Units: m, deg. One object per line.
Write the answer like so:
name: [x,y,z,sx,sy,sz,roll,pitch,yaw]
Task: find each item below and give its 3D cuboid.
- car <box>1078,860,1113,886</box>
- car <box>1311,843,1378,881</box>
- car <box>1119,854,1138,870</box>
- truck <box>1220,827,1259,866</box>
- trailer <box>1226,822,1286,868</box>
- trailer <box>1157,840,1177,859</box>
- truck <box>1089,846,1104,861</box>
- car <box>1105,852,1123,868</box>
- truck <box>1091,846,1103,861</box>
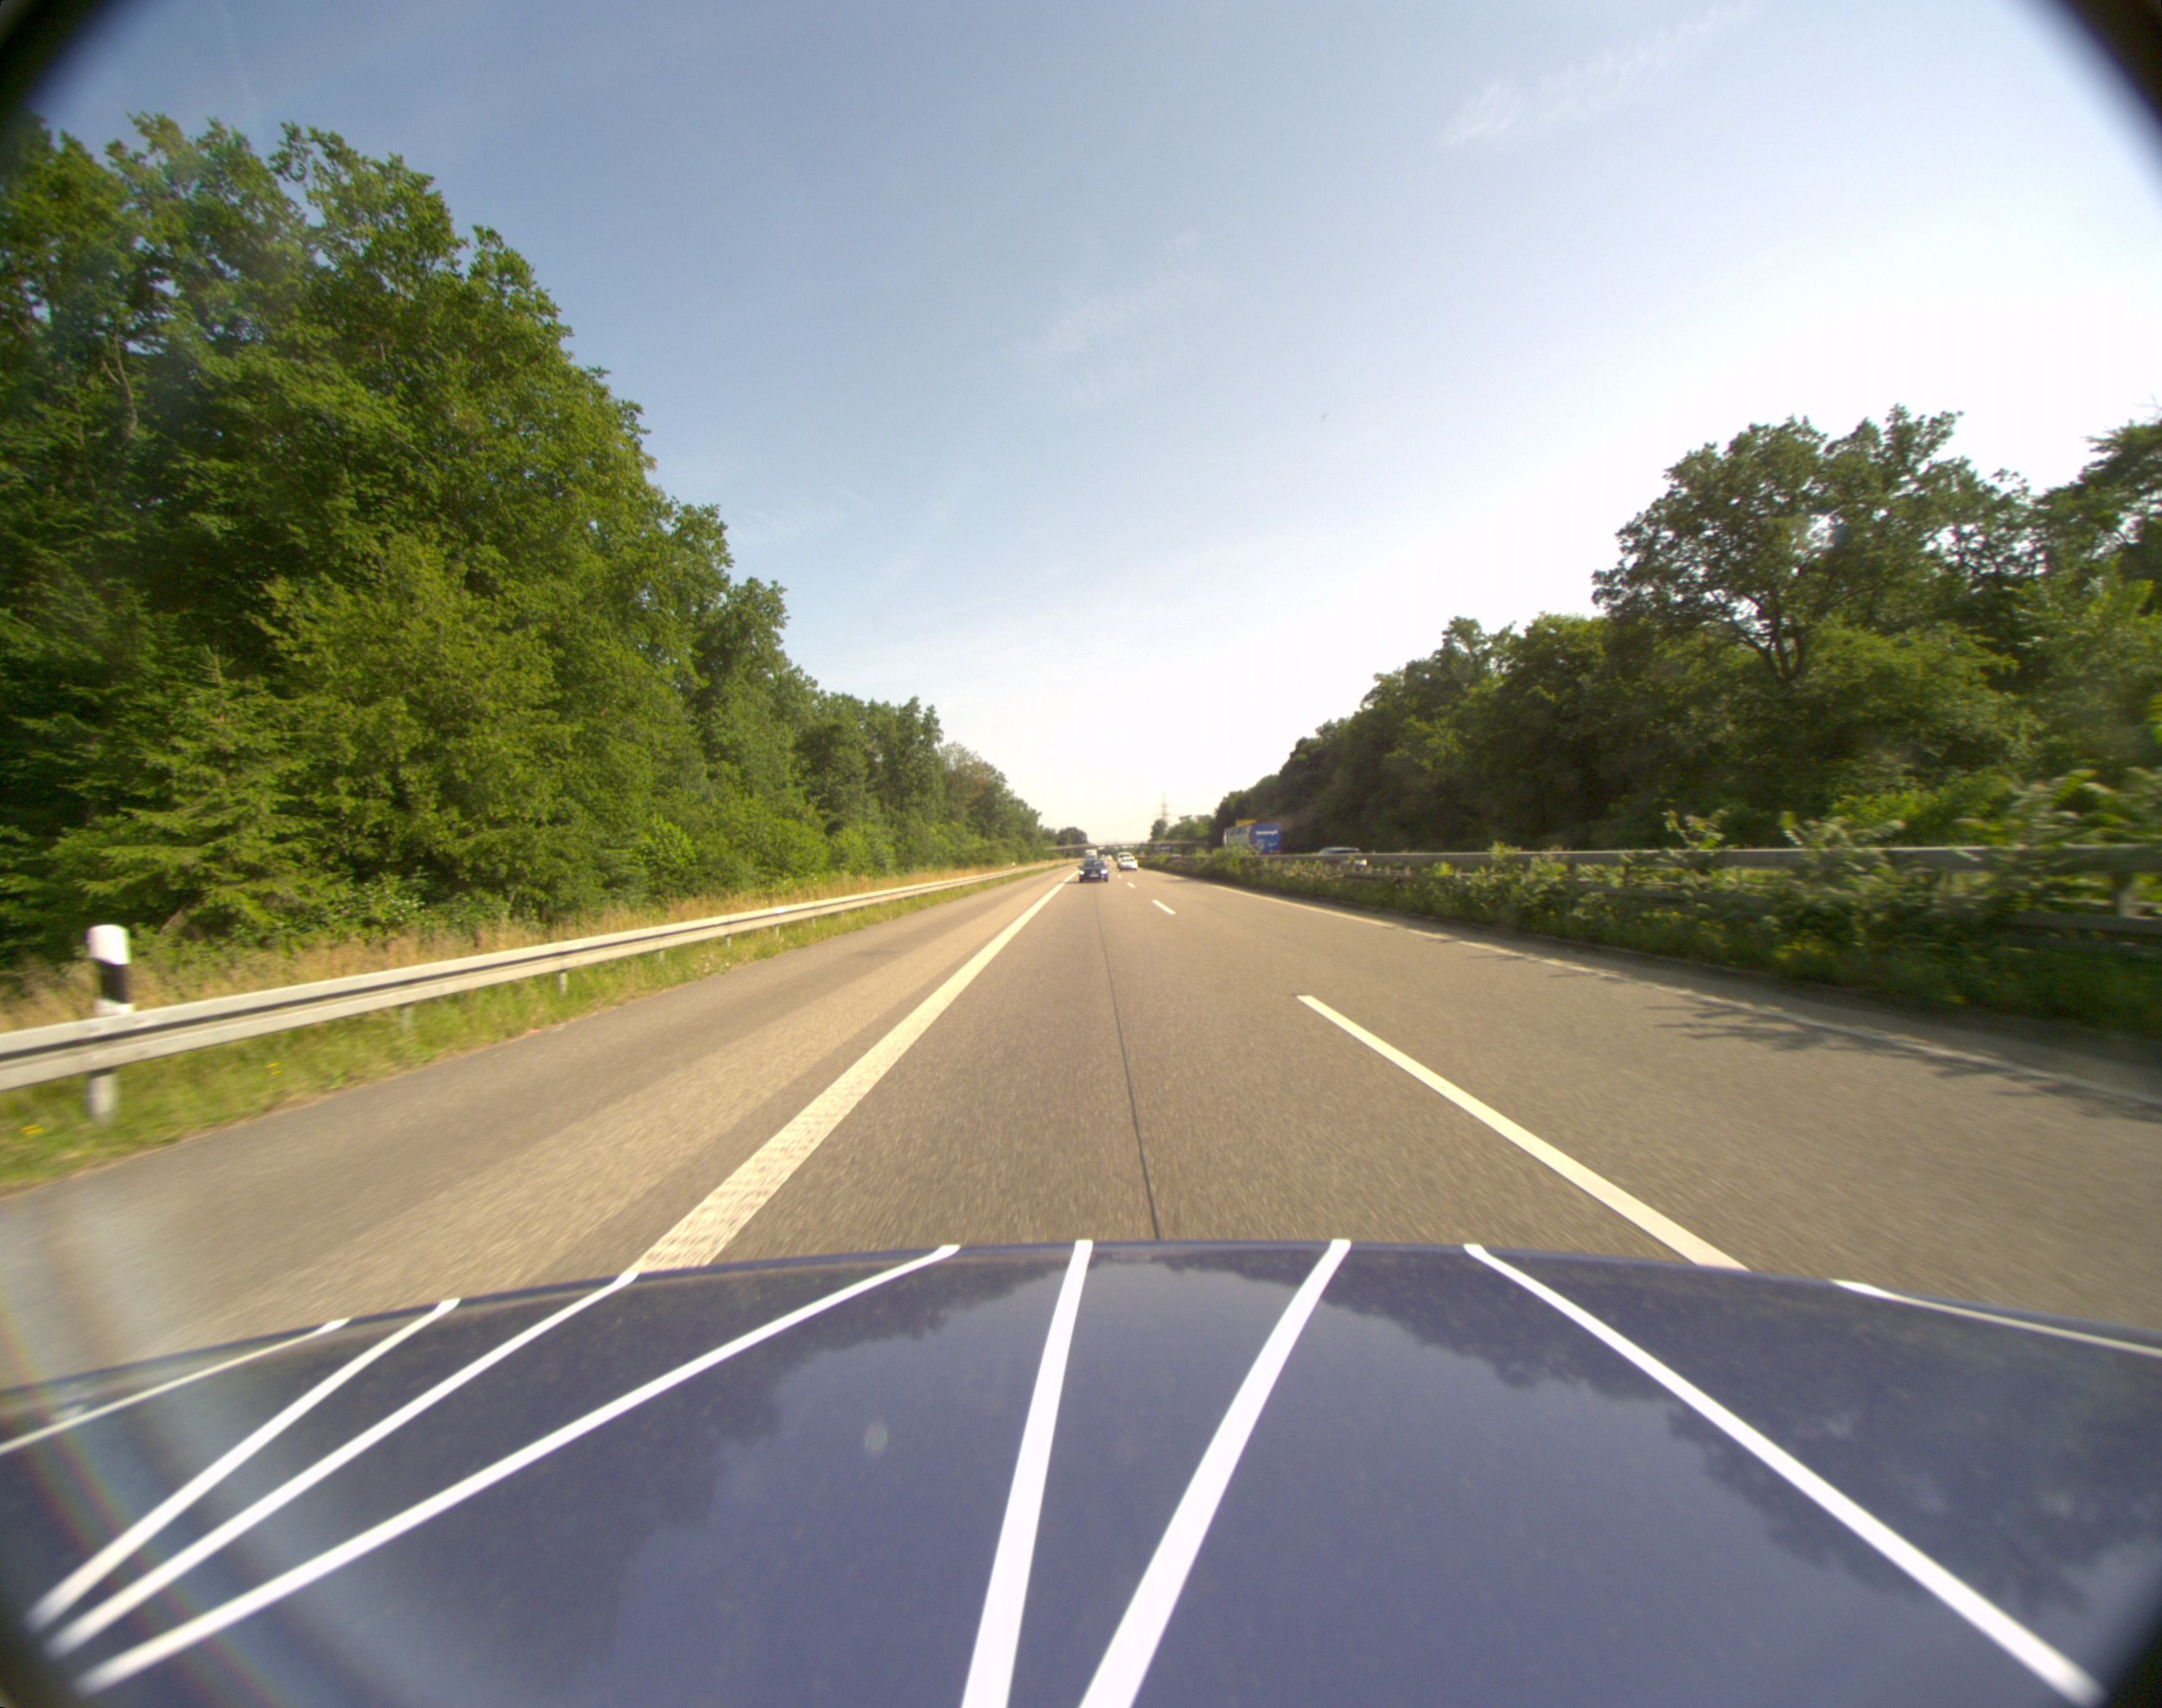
car: [0.776,1.016,41.917,1.789,1.285,3.538,-2,0,0]
car: [11.994,0.331,34.871,1.748,1.578,3.665,-2,0,0]
car: [4.954,0.816,79.868,1.754,1.477,5.263,-2,0,1]
truck: [16.686,-0.763,80.316,2.900,4.008,6.025,0,0,1]
trailer: [16.557,-0.771,73.023,2.900,3.984,13.323,0,0,1]
trailer: [19.484,-1.040,172.374,2.973,4.046,14.317,-1,0,1]
truck: [3.228,-0.052,164.311,2.695,3.020,10.370,-2,0,-1]
car: [4.310,0.729,98.821,1.913,1.934,4.705,-2,0,-2]
truck: [4.602,-0.017,216.533,2.695,4.061,12.362,-2,0,-2]
